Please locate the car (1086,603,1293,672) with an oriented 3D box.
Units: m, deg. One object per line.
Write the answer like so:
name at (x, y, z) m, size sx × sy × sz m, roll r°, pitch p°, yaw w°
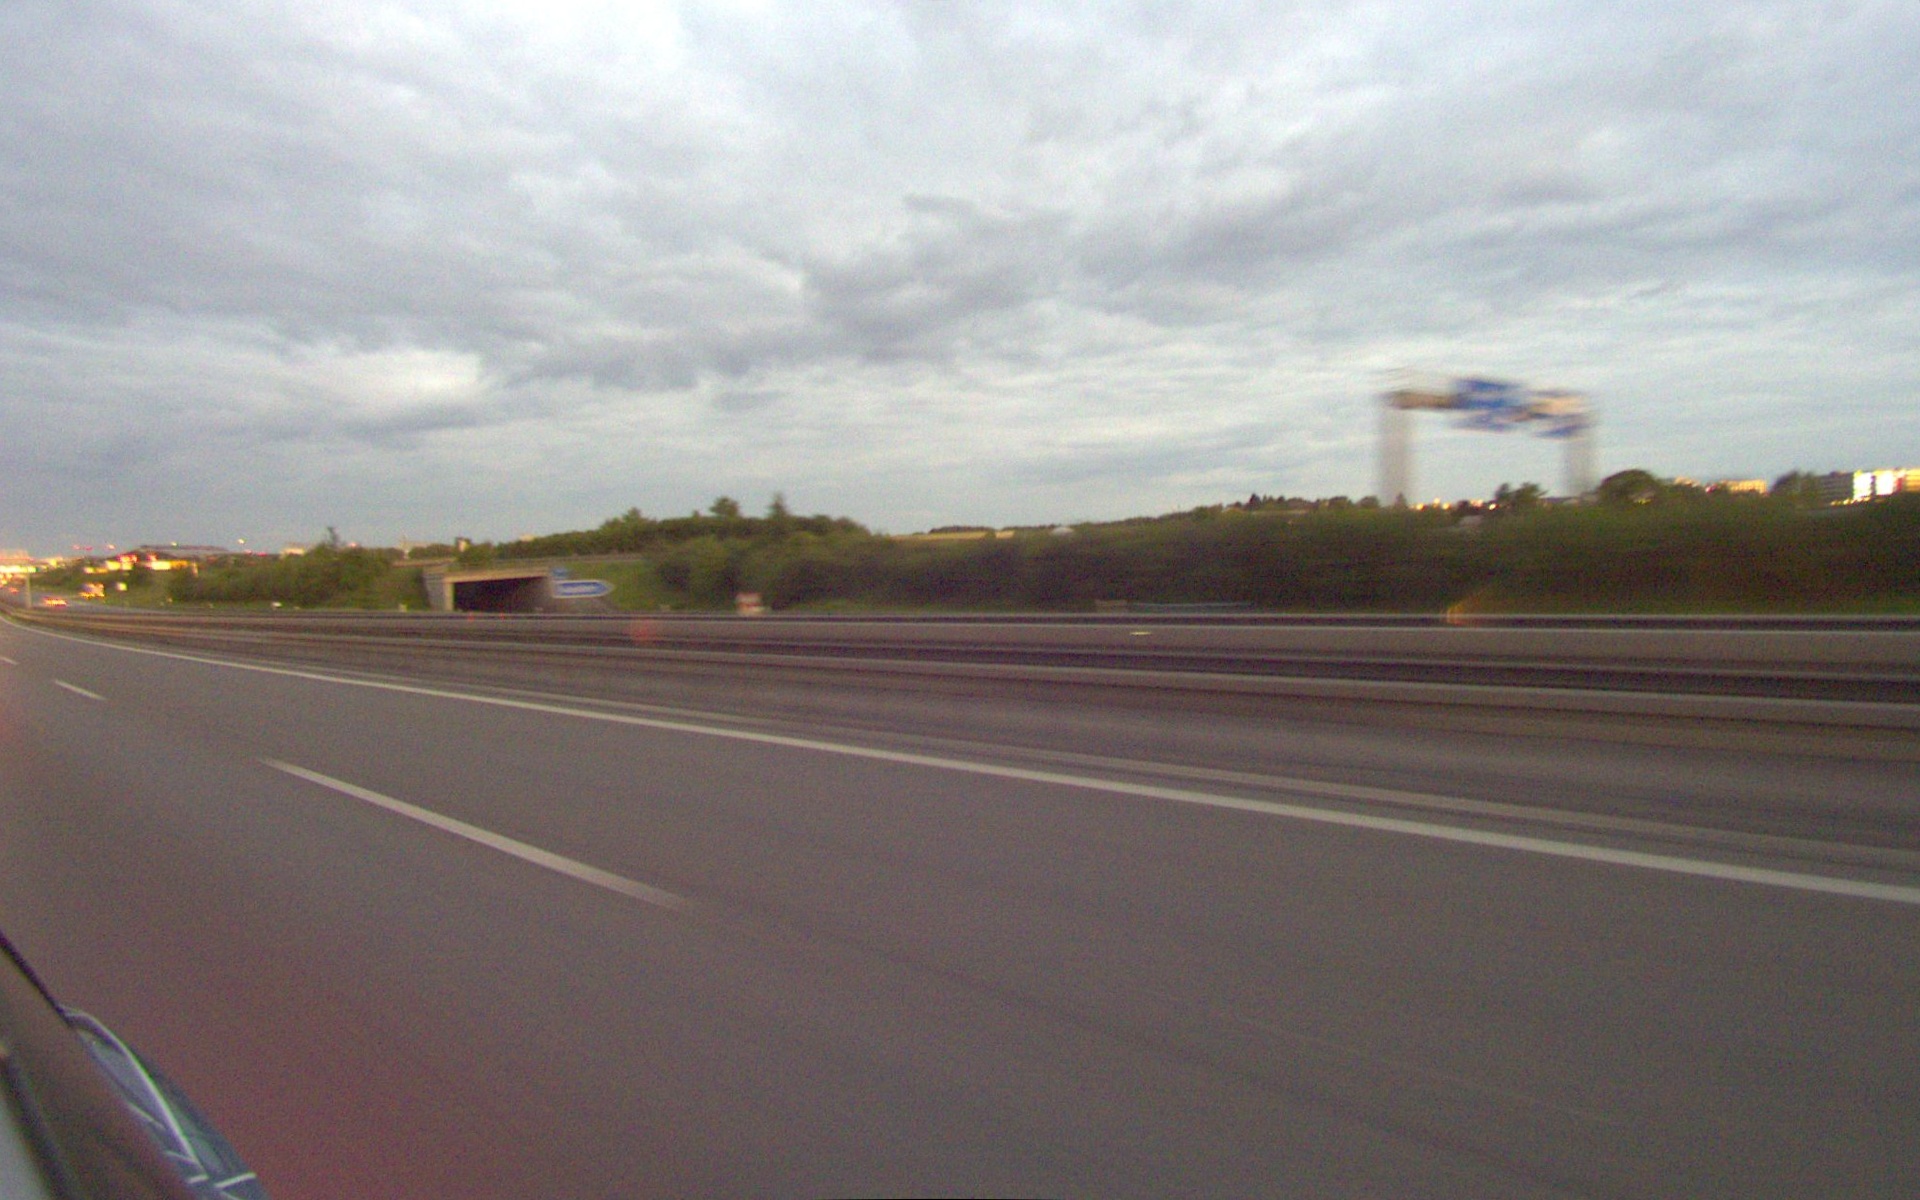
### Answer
car at (5.339, 0.830, 23.817) m, size 4.327 × 1.414 × 1.973 m, roll -1°, pitch 1°, yaw 41°
